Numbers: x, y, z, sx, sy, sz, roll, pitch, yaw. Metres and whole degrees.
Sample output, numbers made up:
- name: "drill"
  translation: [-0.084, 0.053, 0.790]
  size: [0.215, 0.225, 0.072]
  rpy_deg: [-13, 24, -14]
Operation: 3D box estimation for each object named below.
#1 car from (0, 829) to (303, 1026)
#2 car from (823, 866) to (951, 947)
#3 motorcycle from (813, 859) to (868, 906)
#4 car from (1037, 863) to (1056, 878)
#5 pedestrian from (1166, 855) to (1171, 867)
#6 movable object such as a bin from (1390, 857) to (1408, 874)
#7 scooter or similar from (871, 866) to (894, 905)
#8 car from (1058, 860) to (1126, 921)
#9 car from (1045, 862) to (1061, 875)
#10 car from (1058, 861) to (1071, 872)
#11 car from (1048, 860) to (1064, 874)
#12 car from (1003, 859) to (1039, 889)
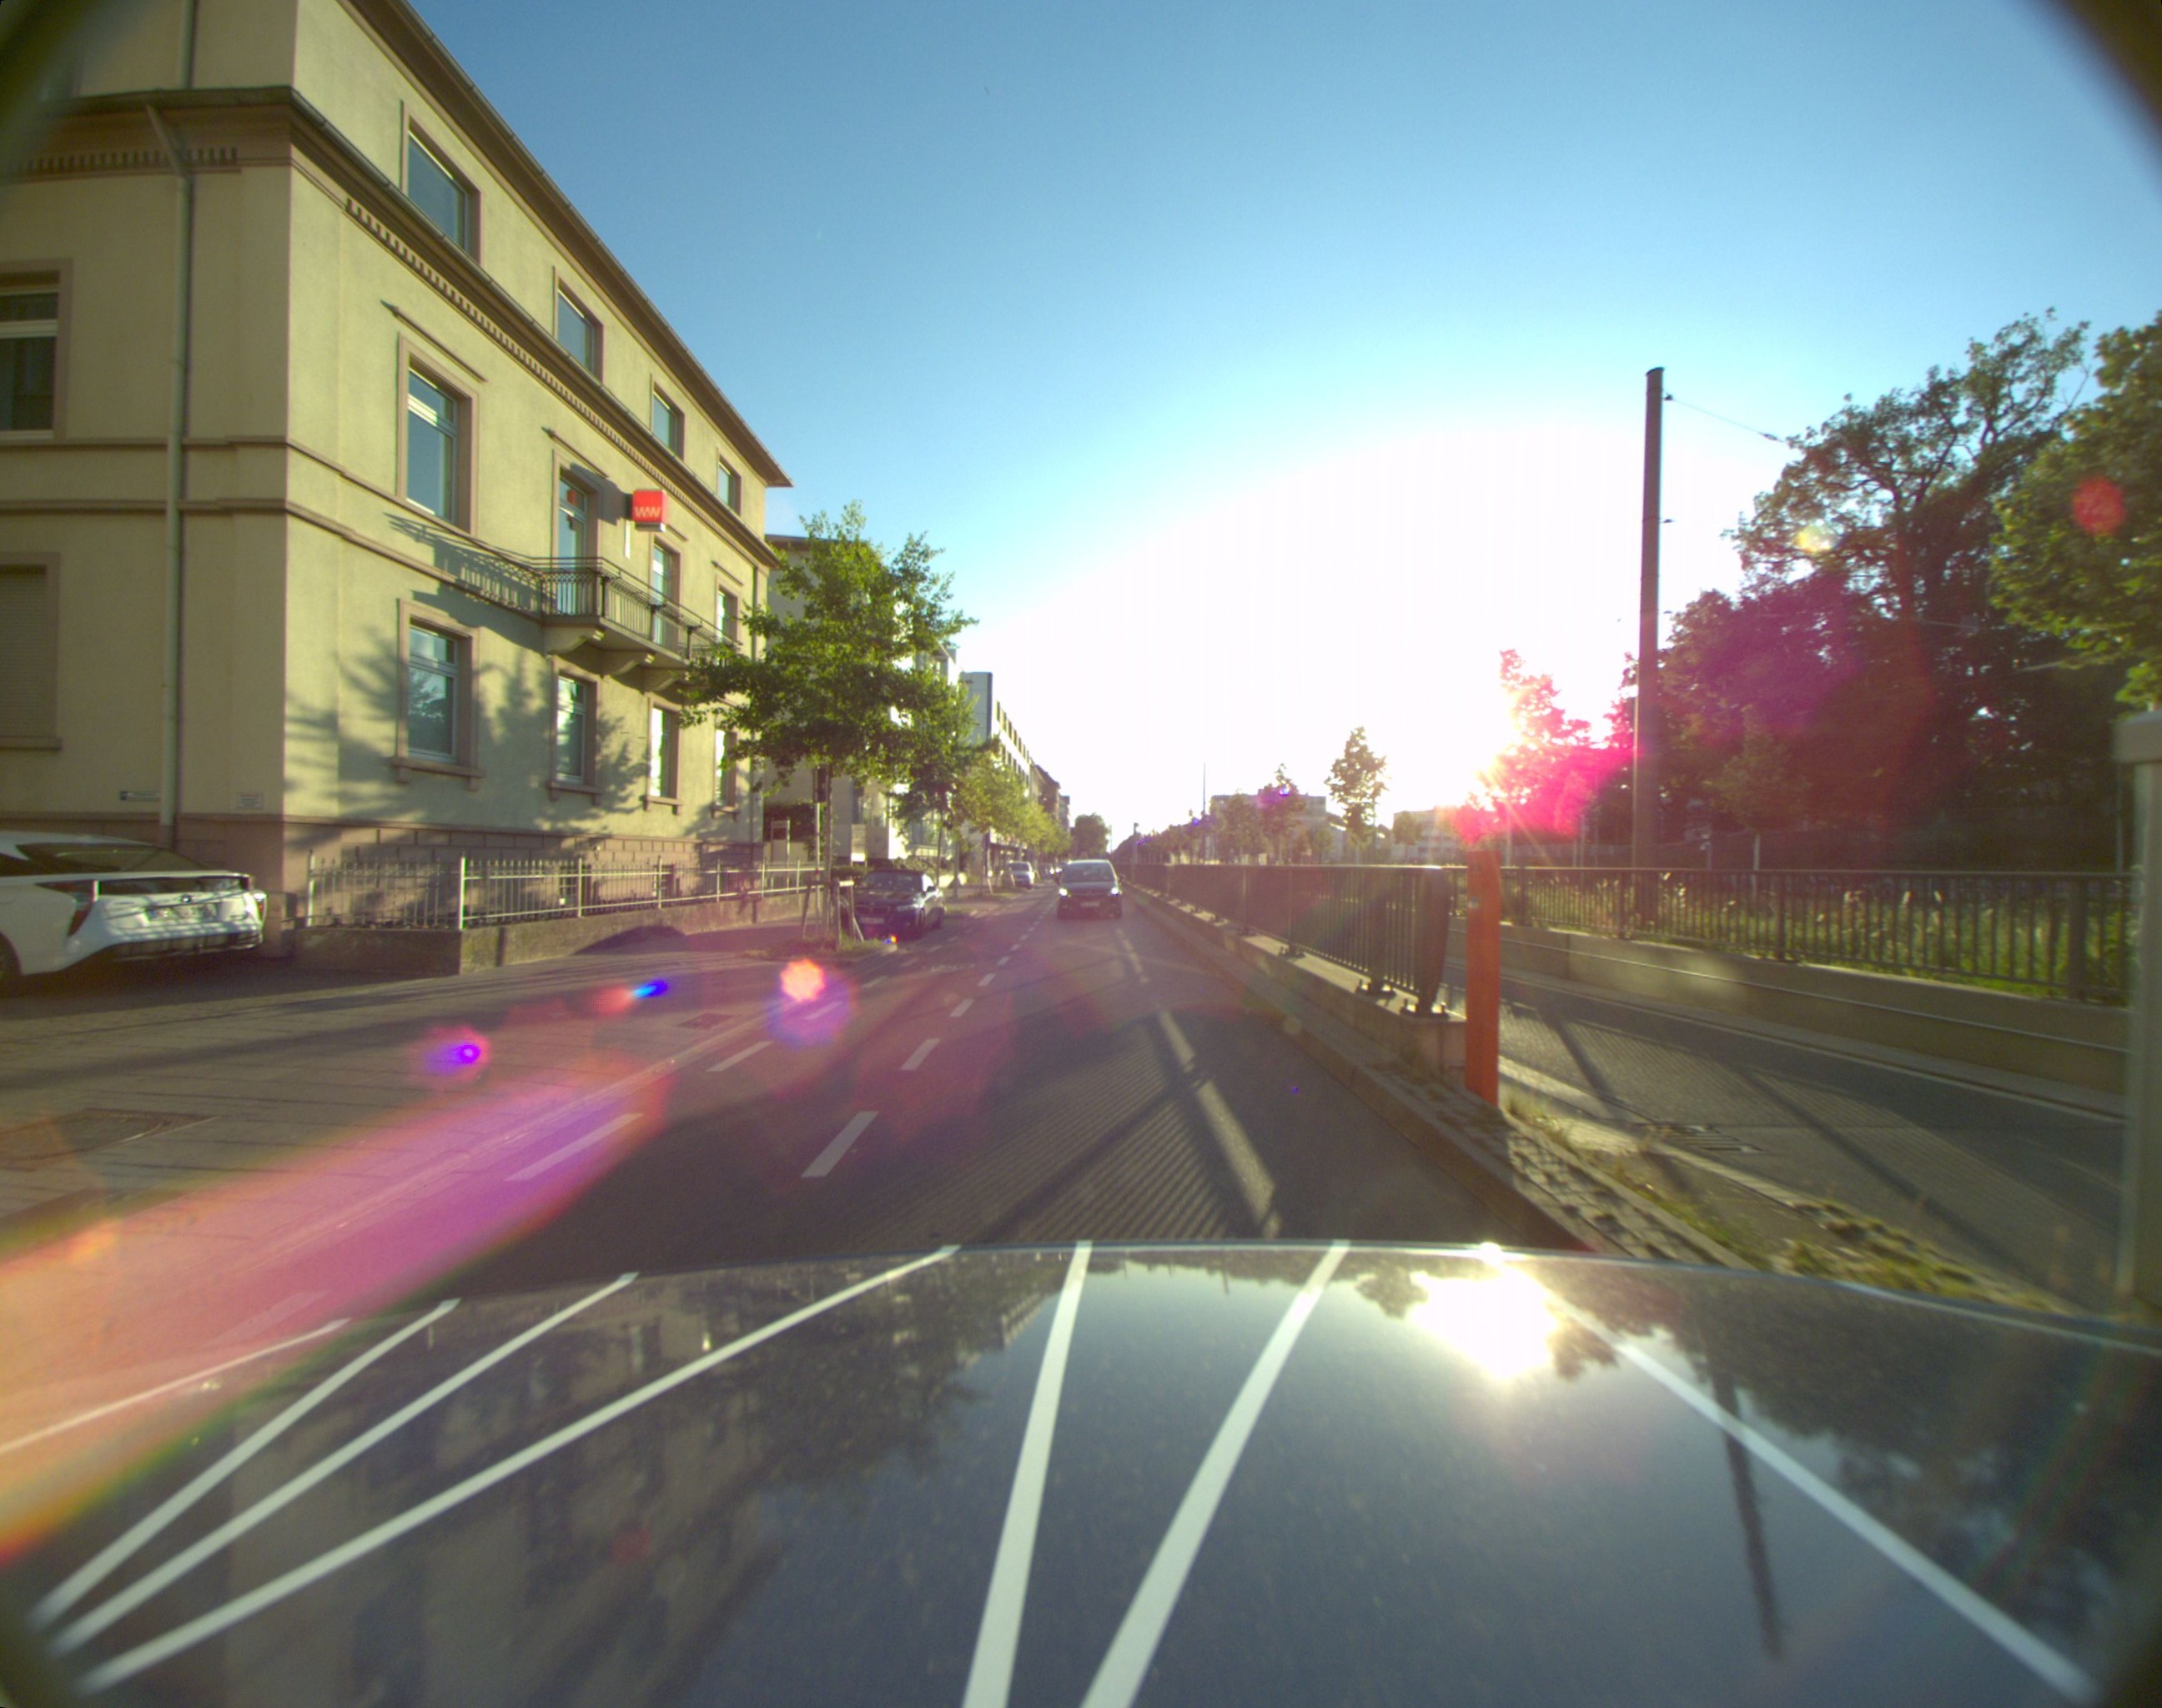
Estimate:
- name: "car"
  translation: [-10.927, 0.591, 7.676]
  size: [4.204, 1.561, 1.917]
  rpy_deg: [4, 0, 3]
- name: "car"
  translation: [-4.152, 1.064, 17.016]
  size: [1.797, 1.462, 4.444]
  rpy_deg: [3, -1, -2]
- name: "motorcycle"
  translation: [-7.633, 0.896, 24.124]
  size: [1.500, 1.404, 0.626]
  rpy_deg: [2, -1, -3]
- name: "car"
  translation: [-3.422, 1.619, 75.473]
  size: [1.824, 1.446, 4.127]
  rpy_deg: [1, 0, -3]
- name: "pedestrian"
  translation: [12.049, 0.991, 104.605]
  size: [0.636, 1.718, 0.635]
  rpy_deg: [0, 0, -12]
- name: "movable object such as a bin"
  translation: [49.491, 1.745, 118.235]
  size: [1.996, 2.690, 4.005]
  rpy_deg: [0, 0, 14]
- name: "scooter or similar"
  translation: [-6.650, 1.031, 25.550]
  size: [0.492, 1.251, 1.208]
  rpy_deg: [-1, 0, -3]
- name: "car"
  translation: [0.294, 0.999, 22.557]
  size: [1.800, 1.609, 4.387]
  rpy_deg: [-1, 0, 0]
- name: "car"
  translation: [-3.151, 1.616, 85.950]
  size: [1.688, 1.446, 4.130]
  rpy_deg: [1, 0, 0]
- name: "car"
  translation: [-2.560, 1.906, 118.628]
  size: [1.761, 1.644, 4.529]
  rpy_deg: [3, -1, 1]
- name: "car"
  translation: [-3.119, 1.611, 96.154]
  size: [1.824, 1.557, 4.810]
  rpy_deg: [4, -1, -1]
- name: "car"
  translation: [-3.607, 1.214, 46.286]
  size: [1.859, 1.696, 4.254]
  rpy_deg: [2, -1, -1]
